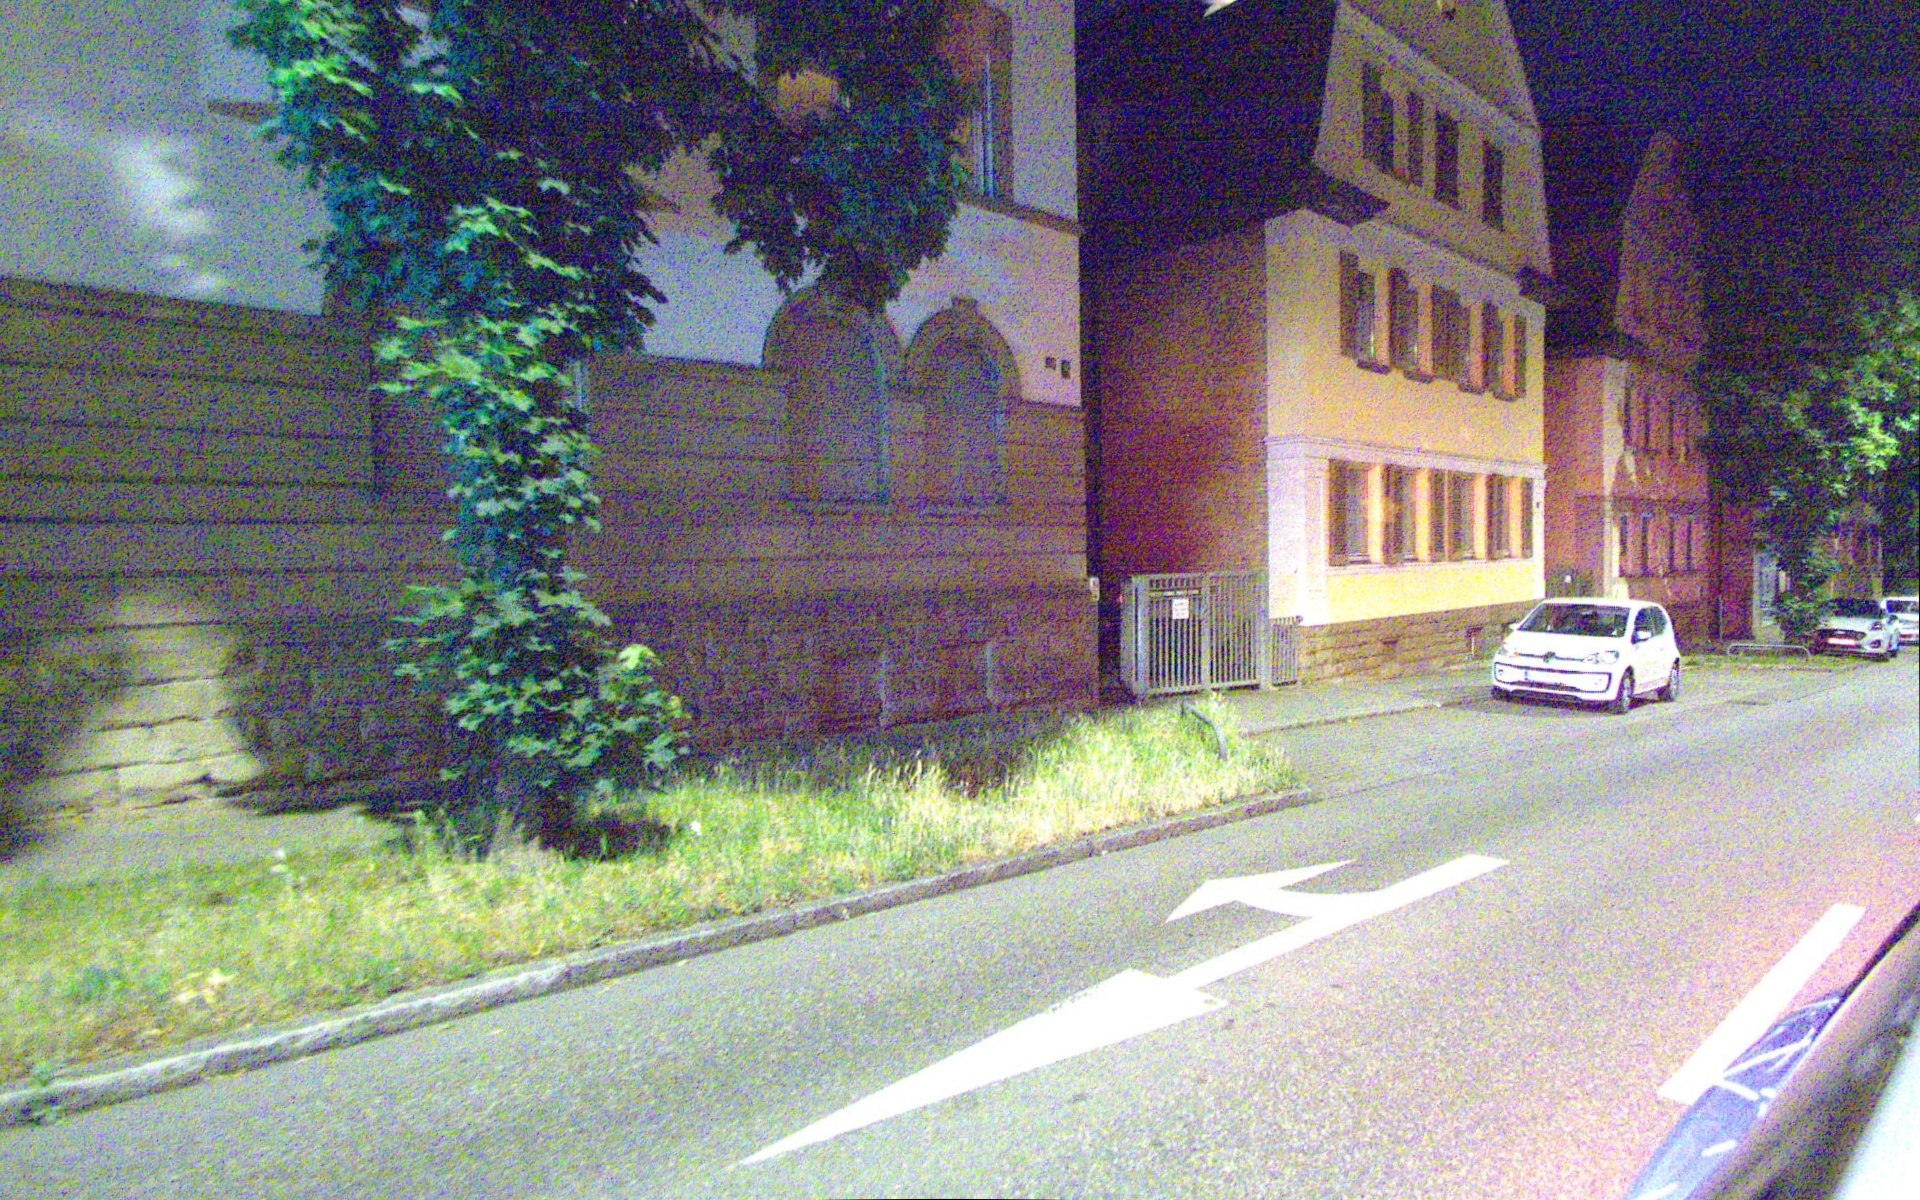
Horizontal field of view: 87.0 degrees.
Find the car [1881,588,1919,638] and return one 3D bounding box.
[{"bbox_3d":[33.553,0.449,35.159,4.281,1.616,1.742,0,2,-40],"label":"car"}]

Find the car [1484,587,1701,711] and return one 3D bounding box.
[{"bbox_3d":[9.092,0.600,14.461,3.541,1.503,1.671,0,2,-42],"label":"car"}]

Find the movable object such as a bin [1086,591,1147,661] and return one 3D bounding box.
[{"bbox_3d":[2.427,0.392,15.713,0.742,1.062,0.608,0,0,-41],"label":"movable object such as a bin"}]

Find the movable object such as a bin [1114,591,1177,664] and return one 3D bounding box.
[{"bbox_3d":[2.780,0.401,15.174,0.742,1.062,0.608,0,0,-41],"label":"movable object such as a bin"}]

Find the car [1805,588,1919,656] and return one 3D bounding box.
[{"bbox_3d":[23.572,0.515,26.387,3.977,1.572,1.862,0,3,-43],"label":"car"}]
